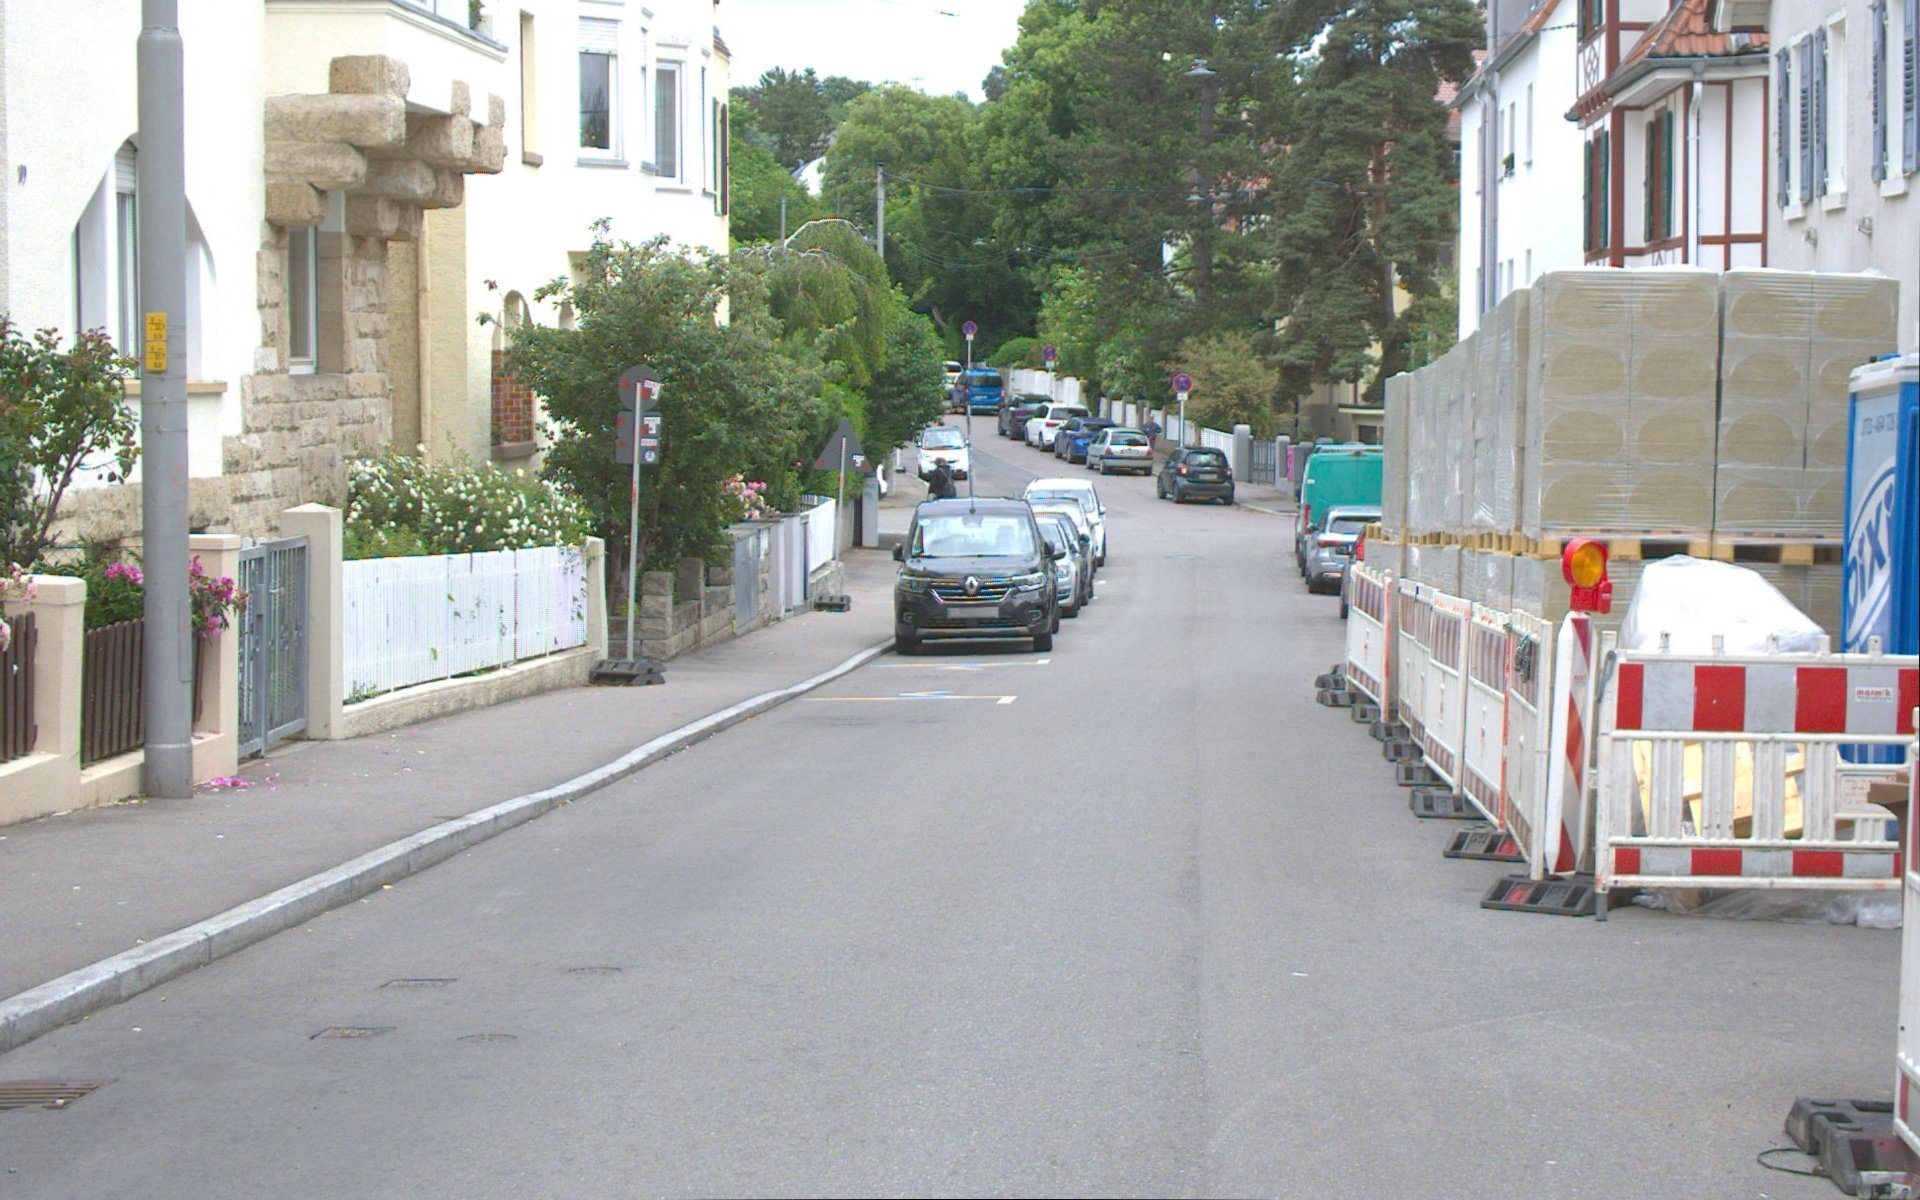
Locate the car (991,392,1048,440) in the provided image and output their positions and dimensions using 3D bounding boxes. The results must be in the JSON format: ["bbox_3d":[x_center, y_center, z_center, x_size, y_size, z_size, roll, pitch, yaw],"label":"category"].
[{"bbox_3d":[2.141,-6.654,124.140,1.634,1.532,3.532,1,6,-5],"label":"car"}]

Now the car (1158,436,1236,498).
[{"bbox_3d":[6.560,-3.700,95.468,1.634,1.478,3.532,1,6,-4],"label":"car"}]

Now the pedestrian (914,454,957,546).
[{"bbox_3d":[-0.515,-2.144,73.296,0.791,1.926,0.919,1,2,6],"label":"pedestrian"}]

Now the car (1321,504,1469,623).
[{"bbox_3d":[5.976,-0.537,47.554,1.689,1.514,3.881,1,2,3],"label":"car"}]

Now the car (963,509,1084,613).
[{"bbox_3d":[0.972,-0.604,50.758,1.642,1.412,3.984,-1,2,3],"label":"car"}]

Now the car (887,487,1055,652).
[{"bbox_3d":[0.152,-0.410,40.568,1.845,1.809,4.545,-1,2,1],"label":"car"}]

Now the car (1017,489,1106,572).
[{"bbox_3d":[1.947,-1.337,65.236,1.596,1.408,3.663,-1,3,3],"label":"car"}]

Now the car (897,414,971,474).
[{"bbox_3d":[-0.822,-4.804,105.332,1.672,1.651,3.865,-2,5,-9],"label":"car"}]

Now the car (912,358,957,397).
[{"bbox_3d":[-1.104,-9.648,149.005,1.634,1.532,3.532,1,6,-5],"label":"car"}]

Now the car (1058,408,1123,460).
[{"bbox_3d":[4.231,-5.420,112.161,1.634,1.478,3.532,1,6,-5],"label":"car"}]

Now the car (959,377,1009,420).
[{"bbox_3d":[0.945,-8.132,138.714,1.634,1.532,3.532,1,6,-5],"label":"car"}]

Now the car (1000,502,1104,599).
[{"bbox_3d":[1.531,-0.841,56.026,1.596,1.473,3.991,-1,2,3],"label":"car"}]

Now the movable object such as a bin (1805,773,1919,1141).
[{"bbox_3d":[2.466,0.914,8.868,0.400,0.889,0.363,4,3,41],"label":"movable object such as a bin"}]

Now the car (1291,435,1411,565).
[{"bbox_3d":[7.374,-1.938,65.178,1.980,2.354,4.277,0,3,3],"label":"car"}]

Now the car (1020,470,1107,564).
[{"bbox_3d":[2.119,-1.700,69.327,1.672,1.651,3.864,-1,5,3],"label":"car"}]

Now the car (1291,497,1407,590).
[{"bbox_3d":[6.624,-0.992,58.854,1.725,1.443,3.881,0,3,3],"label":"car"}]

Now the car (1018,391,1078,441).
[{"bbox_3d":[3.007,-6.349,118.225,1.634,1.532,3.532,1,6,-5],"label":"car"}]

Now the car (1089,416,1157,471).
[{"bbox_3d":[5.077,-4.900,107.438,1.634,1.478,3.532,1,6,-5],"label":"car"}]
